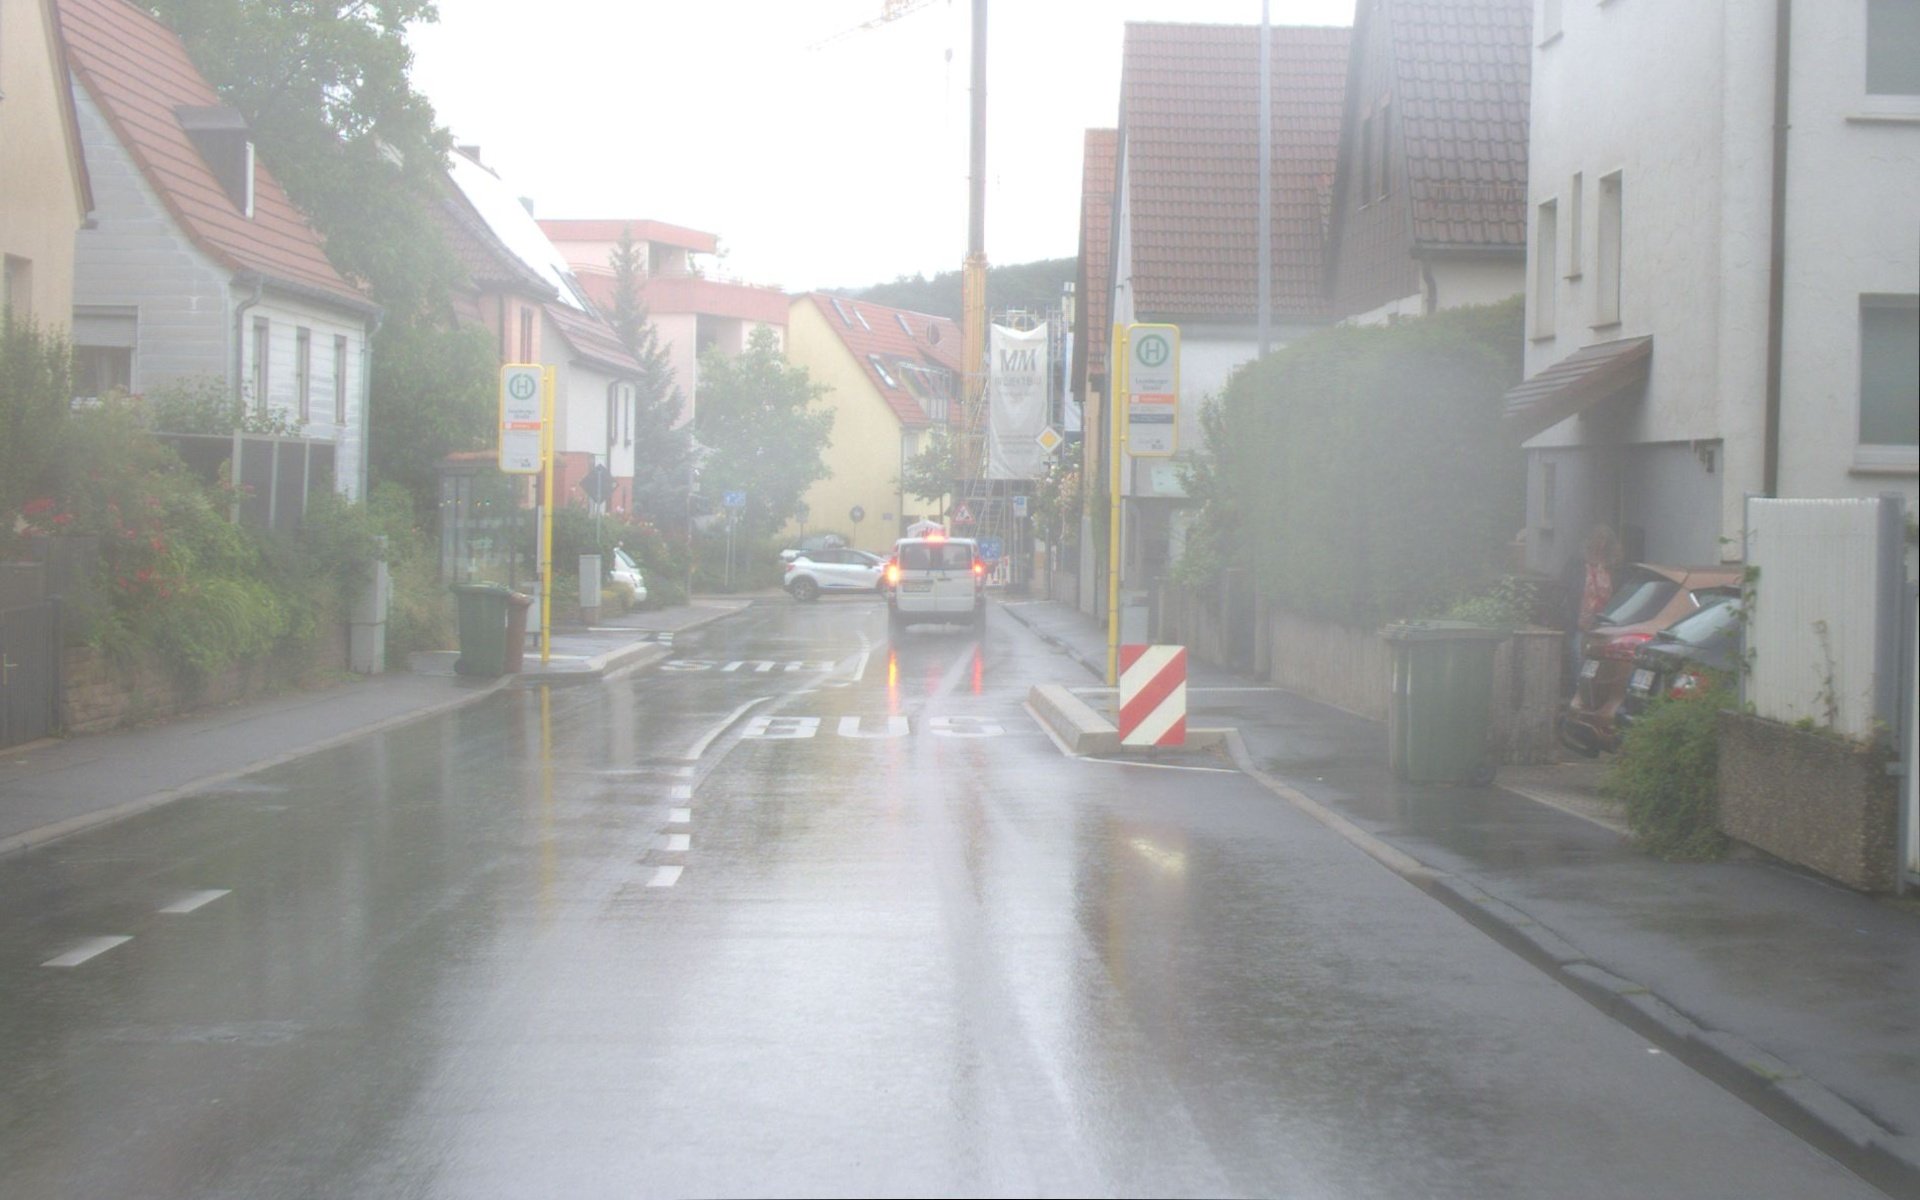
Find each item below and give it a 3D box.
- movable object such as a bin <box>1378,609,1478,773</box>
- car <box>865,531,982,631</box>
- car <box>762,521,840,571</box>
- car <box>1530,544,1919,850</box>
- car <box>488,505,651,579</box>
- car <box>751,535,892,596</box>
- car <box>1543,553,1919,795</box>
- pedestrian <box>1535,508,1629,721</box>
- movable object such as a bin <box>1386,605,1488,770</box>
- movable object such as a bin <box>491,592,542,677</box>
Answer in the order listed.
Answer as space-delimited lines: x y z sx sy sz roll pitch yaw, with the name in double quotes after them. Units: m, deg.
3.133 0.606 23.041 0.567 1.073 0.538 1 1 -3 "movable object such as a bin"
-0.716 -0.372 66.726 2.181 1.863 4.000 1 0 -1 "car"
-5.583 -1.920 121.239 1.601 1.672 3.936 2 2 15 "car"
5.211 0.613 19.744 3.445 1.476 1.580 7 1 -1 "car"
-9.132 -1.359 80.627 3.545 1.524 1.663 3 1 1 "car"
-4.160 -1.033 103.669 3.988 1.788 1.804 1 0 6 "car"
5.683 0.454 22.426 3.477 1.505 1.580 0 1 -1 "car"
5.081 0.113 28.112 0.628 1.720 0.619 1 1 0 "pedestrian"
3.180 0.580 22.941 0.567 1.073 0.538 1 1 -3 "movable object such as a bin"
-5.225 0.402 40.480 0.468 0.935 0.454 5 3 2 "movable object such as a bin"
